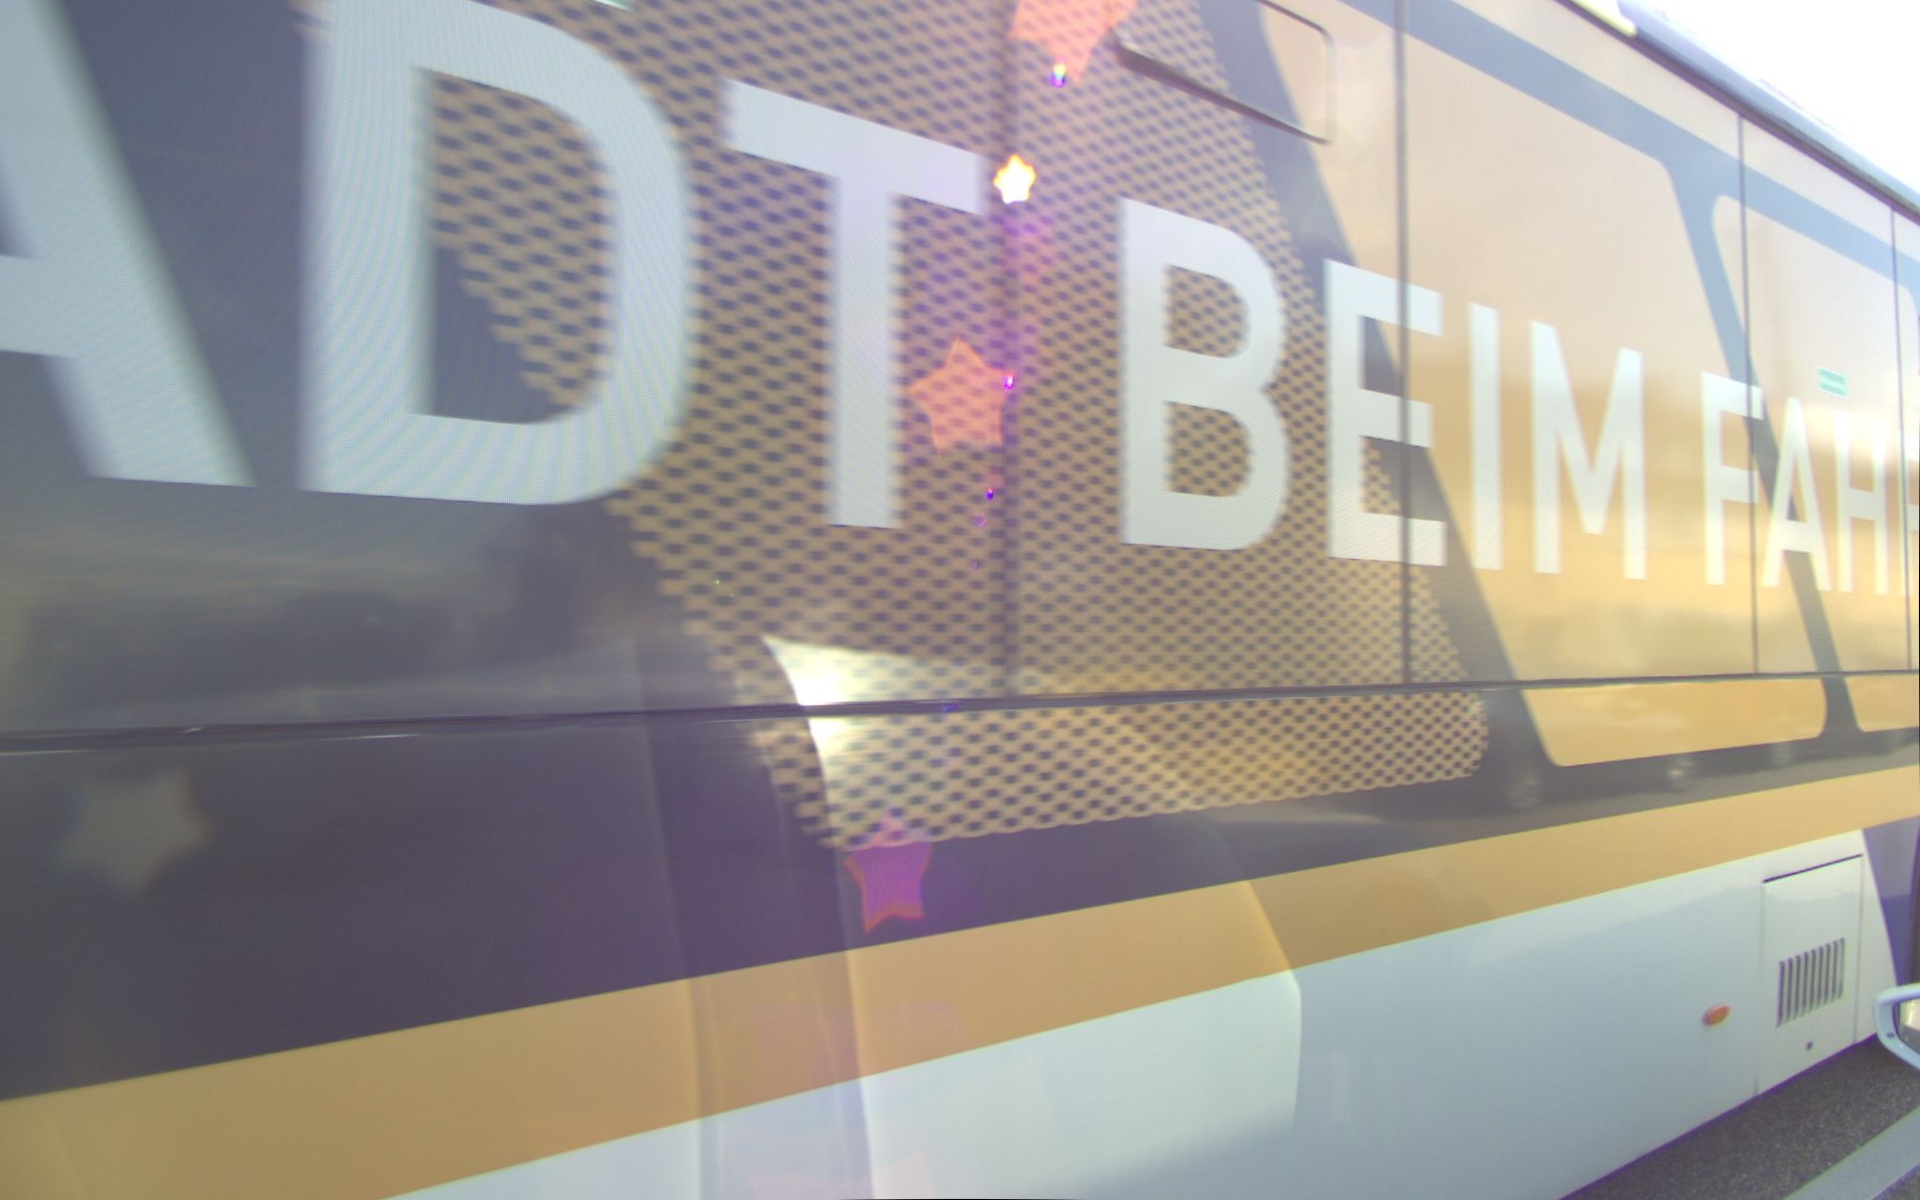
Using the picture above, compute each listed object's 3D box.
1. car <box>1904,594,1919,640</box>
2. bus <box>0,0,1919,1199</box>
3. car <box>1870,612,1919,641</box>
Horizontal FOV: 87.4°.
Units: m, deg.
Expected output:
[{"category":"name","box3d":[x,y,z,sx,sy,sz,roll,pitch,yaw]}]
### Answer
[{"category":"car","box3d":[61.236,1.095,63.208,6.949,2.757,2.055,1,0,-42]},{"category":"bus","box3d":[1.179,-0.251,3.361,12.111,3.458,2.622,1,0,-32]},{"category":"car","box3d":[52.594,1.491,56.174,4.525,1.525,1.716,1,0,-37]}]
